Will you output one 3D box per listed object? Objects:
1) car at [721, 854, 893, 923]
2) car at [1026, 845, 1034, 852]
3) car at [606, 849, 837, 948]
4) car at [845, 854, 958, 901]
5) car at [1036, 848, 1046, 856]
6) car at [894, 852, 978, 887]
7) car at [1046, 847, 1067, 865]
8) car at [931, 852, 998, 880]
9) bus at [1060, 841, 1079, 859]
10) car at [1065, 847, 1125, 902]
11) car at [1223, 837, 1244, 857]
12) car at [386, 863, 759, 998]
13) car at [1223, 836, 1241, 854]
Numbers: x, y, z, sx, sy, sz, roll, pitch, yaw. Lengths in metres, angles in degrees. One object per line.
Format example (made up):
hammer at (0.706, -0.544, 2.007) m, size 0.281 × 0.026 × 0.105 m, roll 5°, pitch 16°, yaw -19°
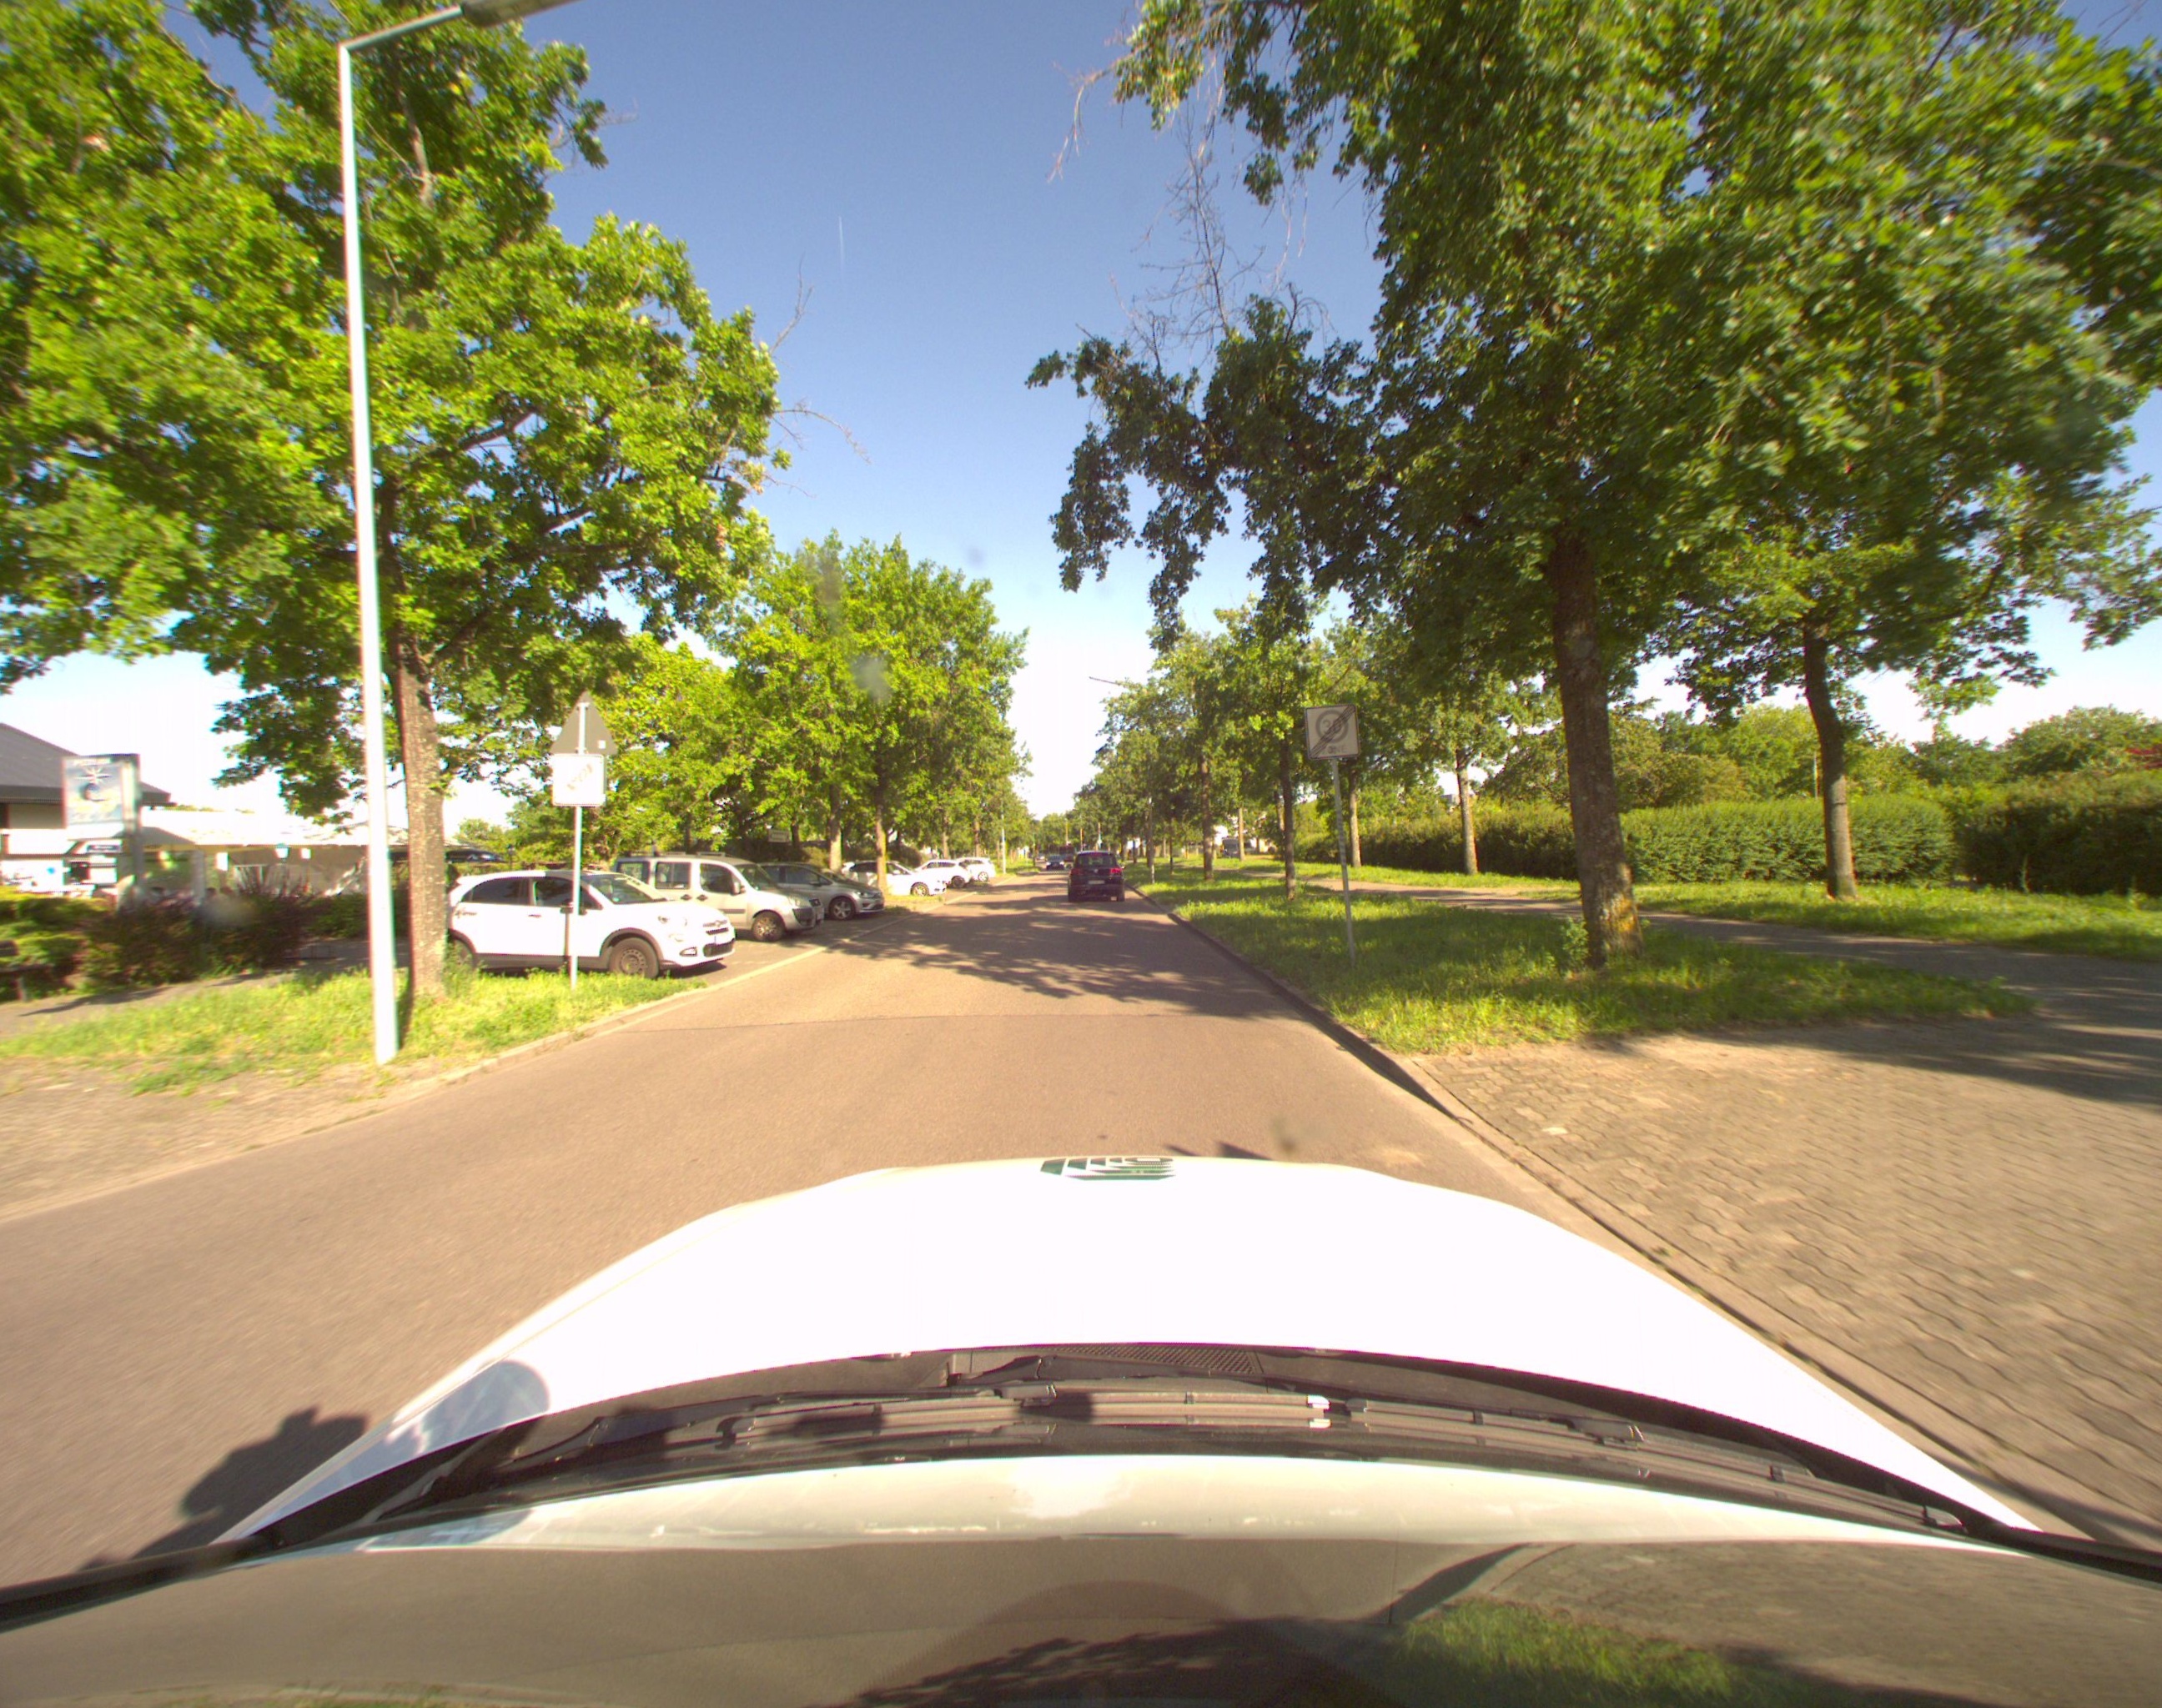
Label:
car at (-7.447, 0.915, 22.408) m, size 4.002 × 1.647 × 1.897 m, roll -2°, pitch 0°, yaw 1°
car at (-13.956, -1.481, 223.830) m, size 1.810 × 1.775 × 3.777 m, roll -3°, pitch 1°, yaw 0°
car at (-7.542, 0.896, 17.378) m, size 4.002 × 1.839 × 1.897 m, roll -2°, pitch 0°, yaw 1°
car at (-7.100, 0.915, 32.464) m, size 4.002 × 1.647 × 1.811 m, roll -2°, pitch 0°, yaw 1°
car at (-8.489, -0.453, 174.003) m, size 1.819 × 1.551 × 3.690 m, roll -3°, pitch 1°, yaw 1°
car at (-7.610, 0.808, 42.898) m, size 4.002 × 1.647 × 1.811 m, roll -2°, pitch 0°, yaw 1°
car at (-2.389, 0.184, 80.132) m, size 1.846 × 1.693 × 3.957 m, roll -2°, pitch 0°, yaw 1°
car at (-7.608, 0.758, 53.455) m, size 4.002 × 1.647 × 1.812 m, roll -3°, pitch 1°, yaw 1°
bus at (-1.935, -0.701, 141.843) m, size 2.918 × 3.003 × 5.739 m, roll -2°, pitch 0°, yaw 2°
car at (0.439, 0.632, 27.448) m, size 1.832 × 1.636 × 3.957 m, roll -2°, pitch 1°, yaw 0°
car at (16.731, -0.793, 89.435) m, size 2.041 × 2.013 × 4.012 m, roll -2°, pitch 0°, yaw 10°
car at (-7.285, 1.052, 12.010) m, size 4.227 × 1.623 × 1.897 m, roll -2°, pitch 0°, yaw 1°
car at (18.386, -1.111, 99.488) m, size 1.982 × 2.013 × 4.011 m, roll -2°, pitch 0°, yaw 9°
